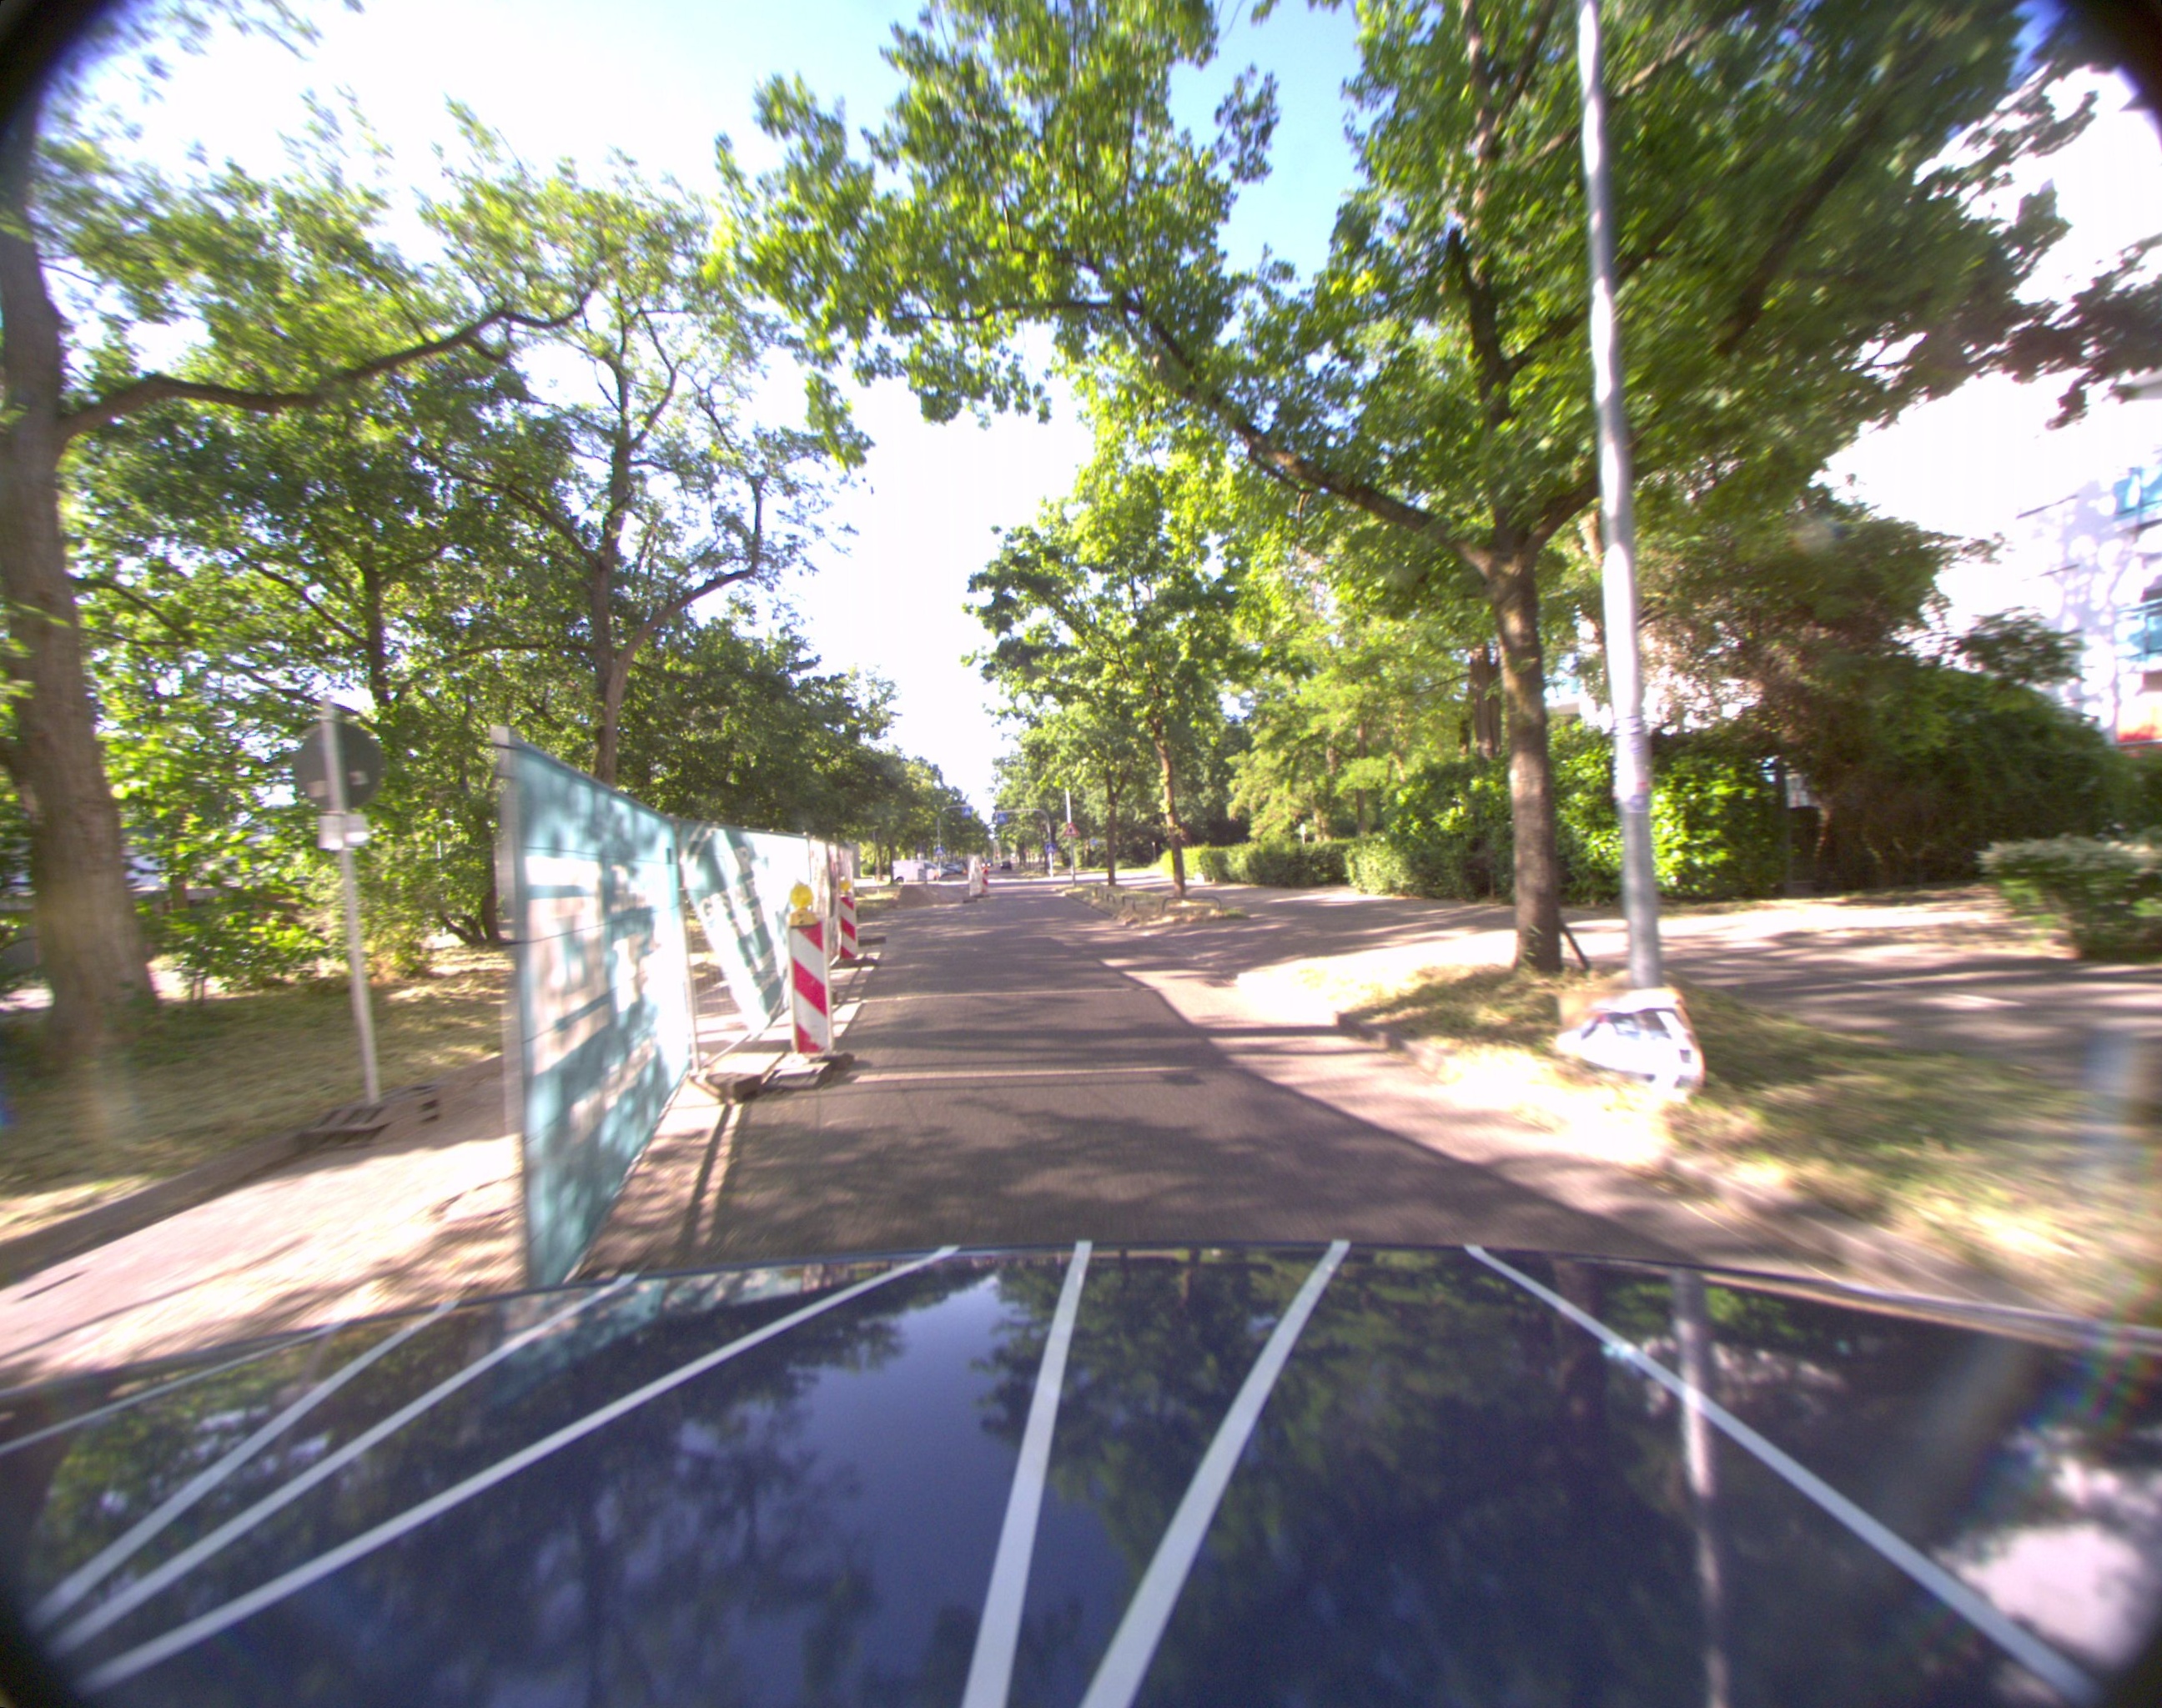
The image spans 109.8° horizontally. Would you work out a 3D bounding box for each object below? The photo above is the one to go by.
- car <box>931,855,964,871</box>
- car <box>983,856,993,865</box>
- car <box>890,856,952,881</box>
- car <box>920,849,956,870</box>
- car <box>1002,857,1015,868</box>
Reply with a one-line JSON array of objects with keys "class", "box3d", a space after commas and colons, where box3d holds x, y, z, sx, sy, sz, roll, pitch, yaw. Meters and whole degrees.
[{"class": "car", "box3d": [-17.895, 1.242, 101.637, 4.247, 1.993, 1.564, -2, 0, -10]}, {"class": "car", "box3d": [-20.115, 1.470, 164.374, 1.999, 1.871, 3.998, -1, 0, -5]}, {"class": "car", "box3d": [-14.536, 1.318, 69.139, 5.272, 1.993, 1.999, -2, 0, -7]}, {"class": "car", "box3d": [-18.076, 0.733, 96.333, 4.414, 2.531, 1.887, -2, 0, -10]}, {"class": "car", "box3d": [-12.066, 1.400, 126.782, 1.999, 1.805, 3.999, -4, 0, -3]}]
